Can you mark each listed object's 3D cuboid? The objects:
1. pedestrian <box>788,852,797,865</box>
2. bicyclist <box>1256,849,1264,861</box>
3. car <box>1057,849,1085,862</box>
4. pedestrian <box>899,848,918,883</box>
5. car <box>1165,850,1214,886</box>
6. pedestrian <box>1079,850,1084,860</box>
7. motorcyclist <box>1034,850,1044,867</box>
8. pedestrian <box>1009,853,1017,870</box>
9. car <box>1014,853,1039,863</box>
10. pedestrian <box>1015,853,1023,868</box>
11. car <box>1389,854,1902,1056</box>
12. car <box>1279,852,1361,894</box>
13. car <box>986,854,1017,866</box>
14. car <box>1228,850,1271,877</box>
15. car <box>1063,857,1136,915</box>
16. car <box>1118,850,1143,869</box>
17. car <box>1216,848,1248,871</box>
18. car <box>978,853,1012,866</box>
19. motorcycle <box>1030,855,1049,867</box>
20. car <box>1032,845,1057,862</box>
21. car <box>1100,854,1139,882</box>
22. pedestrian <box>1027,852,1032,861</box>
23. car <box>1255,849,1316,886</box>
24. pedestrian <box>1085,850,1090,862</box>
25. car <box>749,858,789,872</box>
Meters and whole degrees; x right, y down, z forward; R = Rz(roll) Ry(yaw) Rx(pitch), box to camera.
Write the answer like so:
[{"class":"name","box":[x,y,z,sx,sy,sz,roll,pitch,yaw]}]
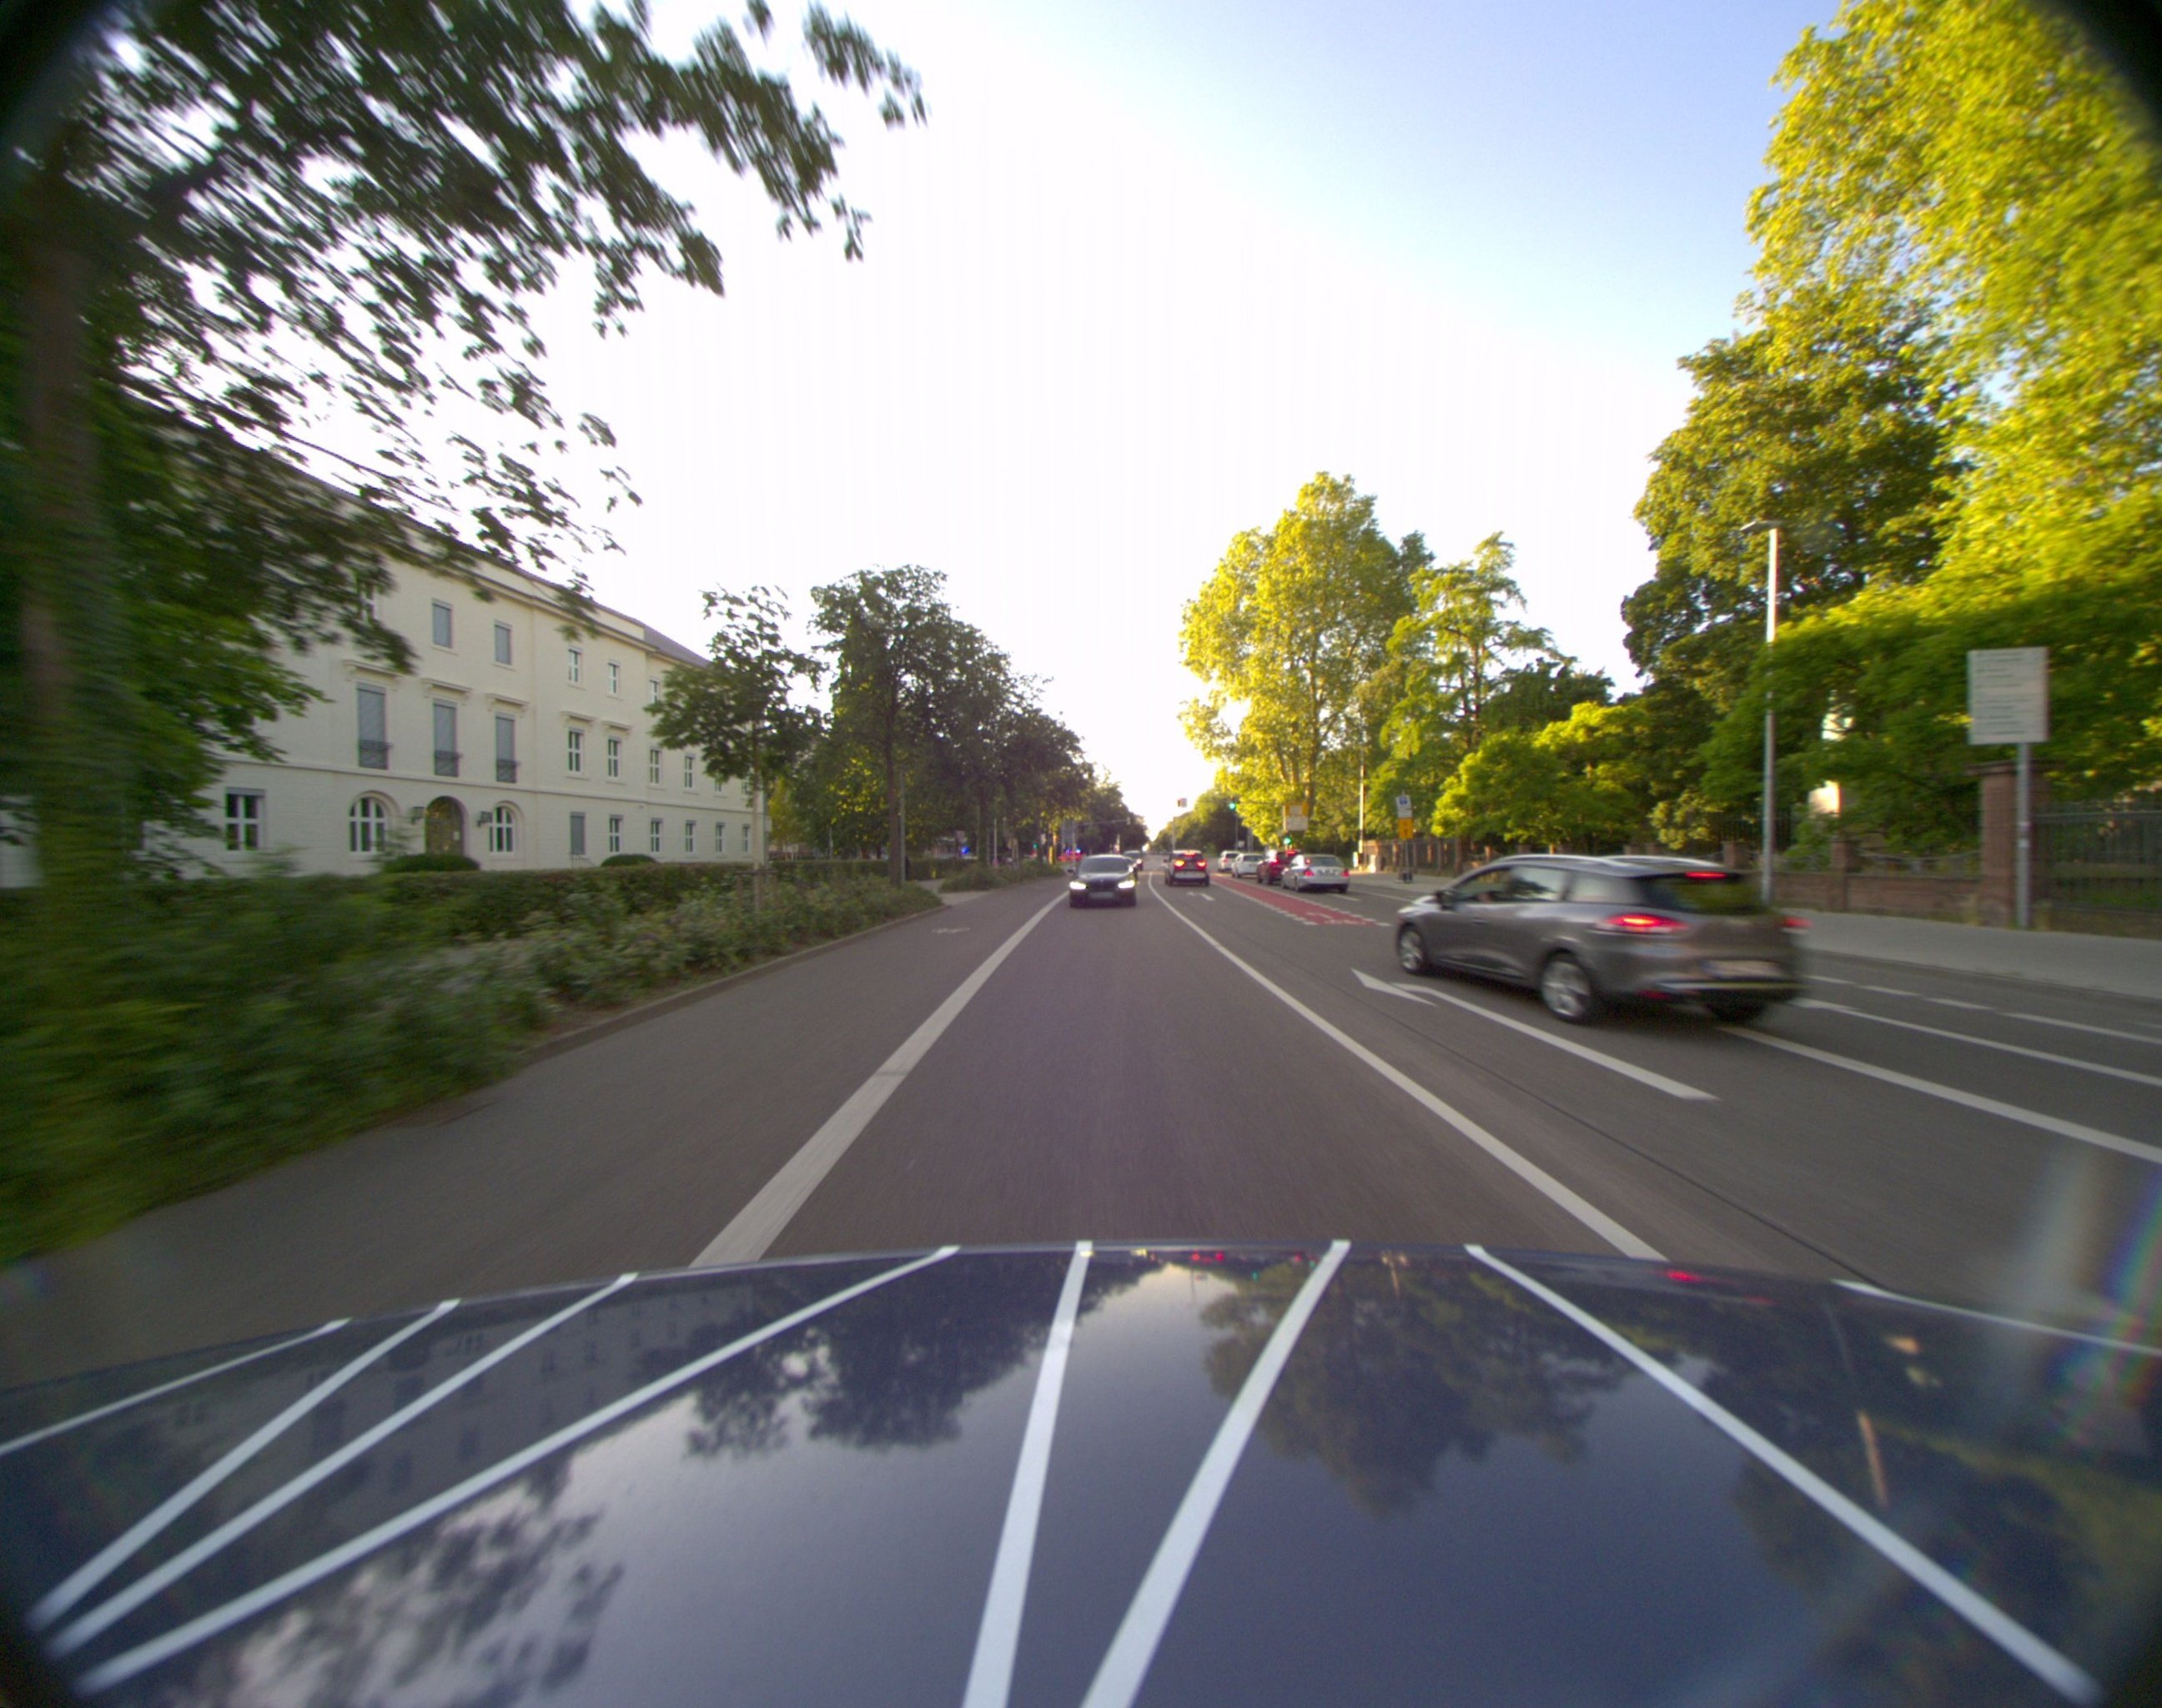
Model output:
[{"class":"pedestrian","box":[-38.035,0.572,100.145,0.894,1.729,0.705,-1,1,17]},{"class":"bicyclist","box":[20.043,0.109,85.005,0.790,1.419,0.892,-1,1,8]},{"class":"car","box":[-2.027,0.240,150.281,5.161,2.379,2.002,-1,0,11]},{"class":"pedestrian","box":[-8.622,0.555,37.997,0.772,1.729,0.807,-1,1,-1]},{"class":"car","box":[4.863,0.592,34.488,1.852,1.517,4.001,0,0,4]},{"class":"pedestrian","box":[0.095,0.188,112.545,0.737,1.514,0.789,-1,1,-2]},{"class":"motorcyclist","box":[-4.395,0.449,79.802,0.691,1.727,0.739,-2,0,-32]},{"class":"pedestrian","box":[-7.405,0.807,82.297,0.682,1.744,0.689,-1,0,8]},{"class":"car","box":[-8.723,0.647,122.073,3.660,1.451,1.666,-1,0,13]},{"class":"pedestrian","box":[-6.659,0.716,82.149,0.682,1.613,0.845,-1,0,8]},{"class":"car","box":[4.963,0.732,7.537,1.841,1.430,3.997,1,0,-6]},{"class":"car","box":[8.887,0.652,28.696,1.920,1.409,4.771,1,0,4]},{"class":"car","box":[-11.556,0.825,109.887,3.992,1.601,1.921,-1,0,15]},{"class":"car","box":[10.286,0.557,46.590,1.920,1.574,4.675,1,0,4]},{"class":"car","box":[0.645,0.827,21.880,1.817,1.391,5.215,-1,0,4]},{"class":"car","box":[4.292,0.428,65.433,1.849,1.473,4.705,-4,0,5]},{"class":"car","box":[11.723,0.377,59.229,1.920,1.686,4.428,1,0,4]},{"class":"car","box":[-12.099,0.775,107.097,4.231,1.730,1.921,-1,0,14]},{"class":"motorcycle","box":[-4.381,0.757,79.798,1.897,1.190,0.683,-2,0,-32]},{"class":"car","box":[-7.323,-0.164,153.553,2.768,3.224,8.306,-1,0,15]},{"class":"car","box":[2.248,0.762,43.157,1.849,1.346,4.705,-4,0,6]},{"class":"pedestrian","box":[-10.500,0.416,155.067,0.682,1.831,0.847,-1,0,14]},{"class":"car","box":[9.462,0.582,35.549,1.920,1.615,4.640,1,0,4]},{"class":"pedestrian","box":[0.913,0.302,112.557,0.721,1.650,0.776,-1,1,-1]},{"class":"car","box":[-36.677,1.290,89.333,3.992,1.630,1.903,-1,0,15]}]
